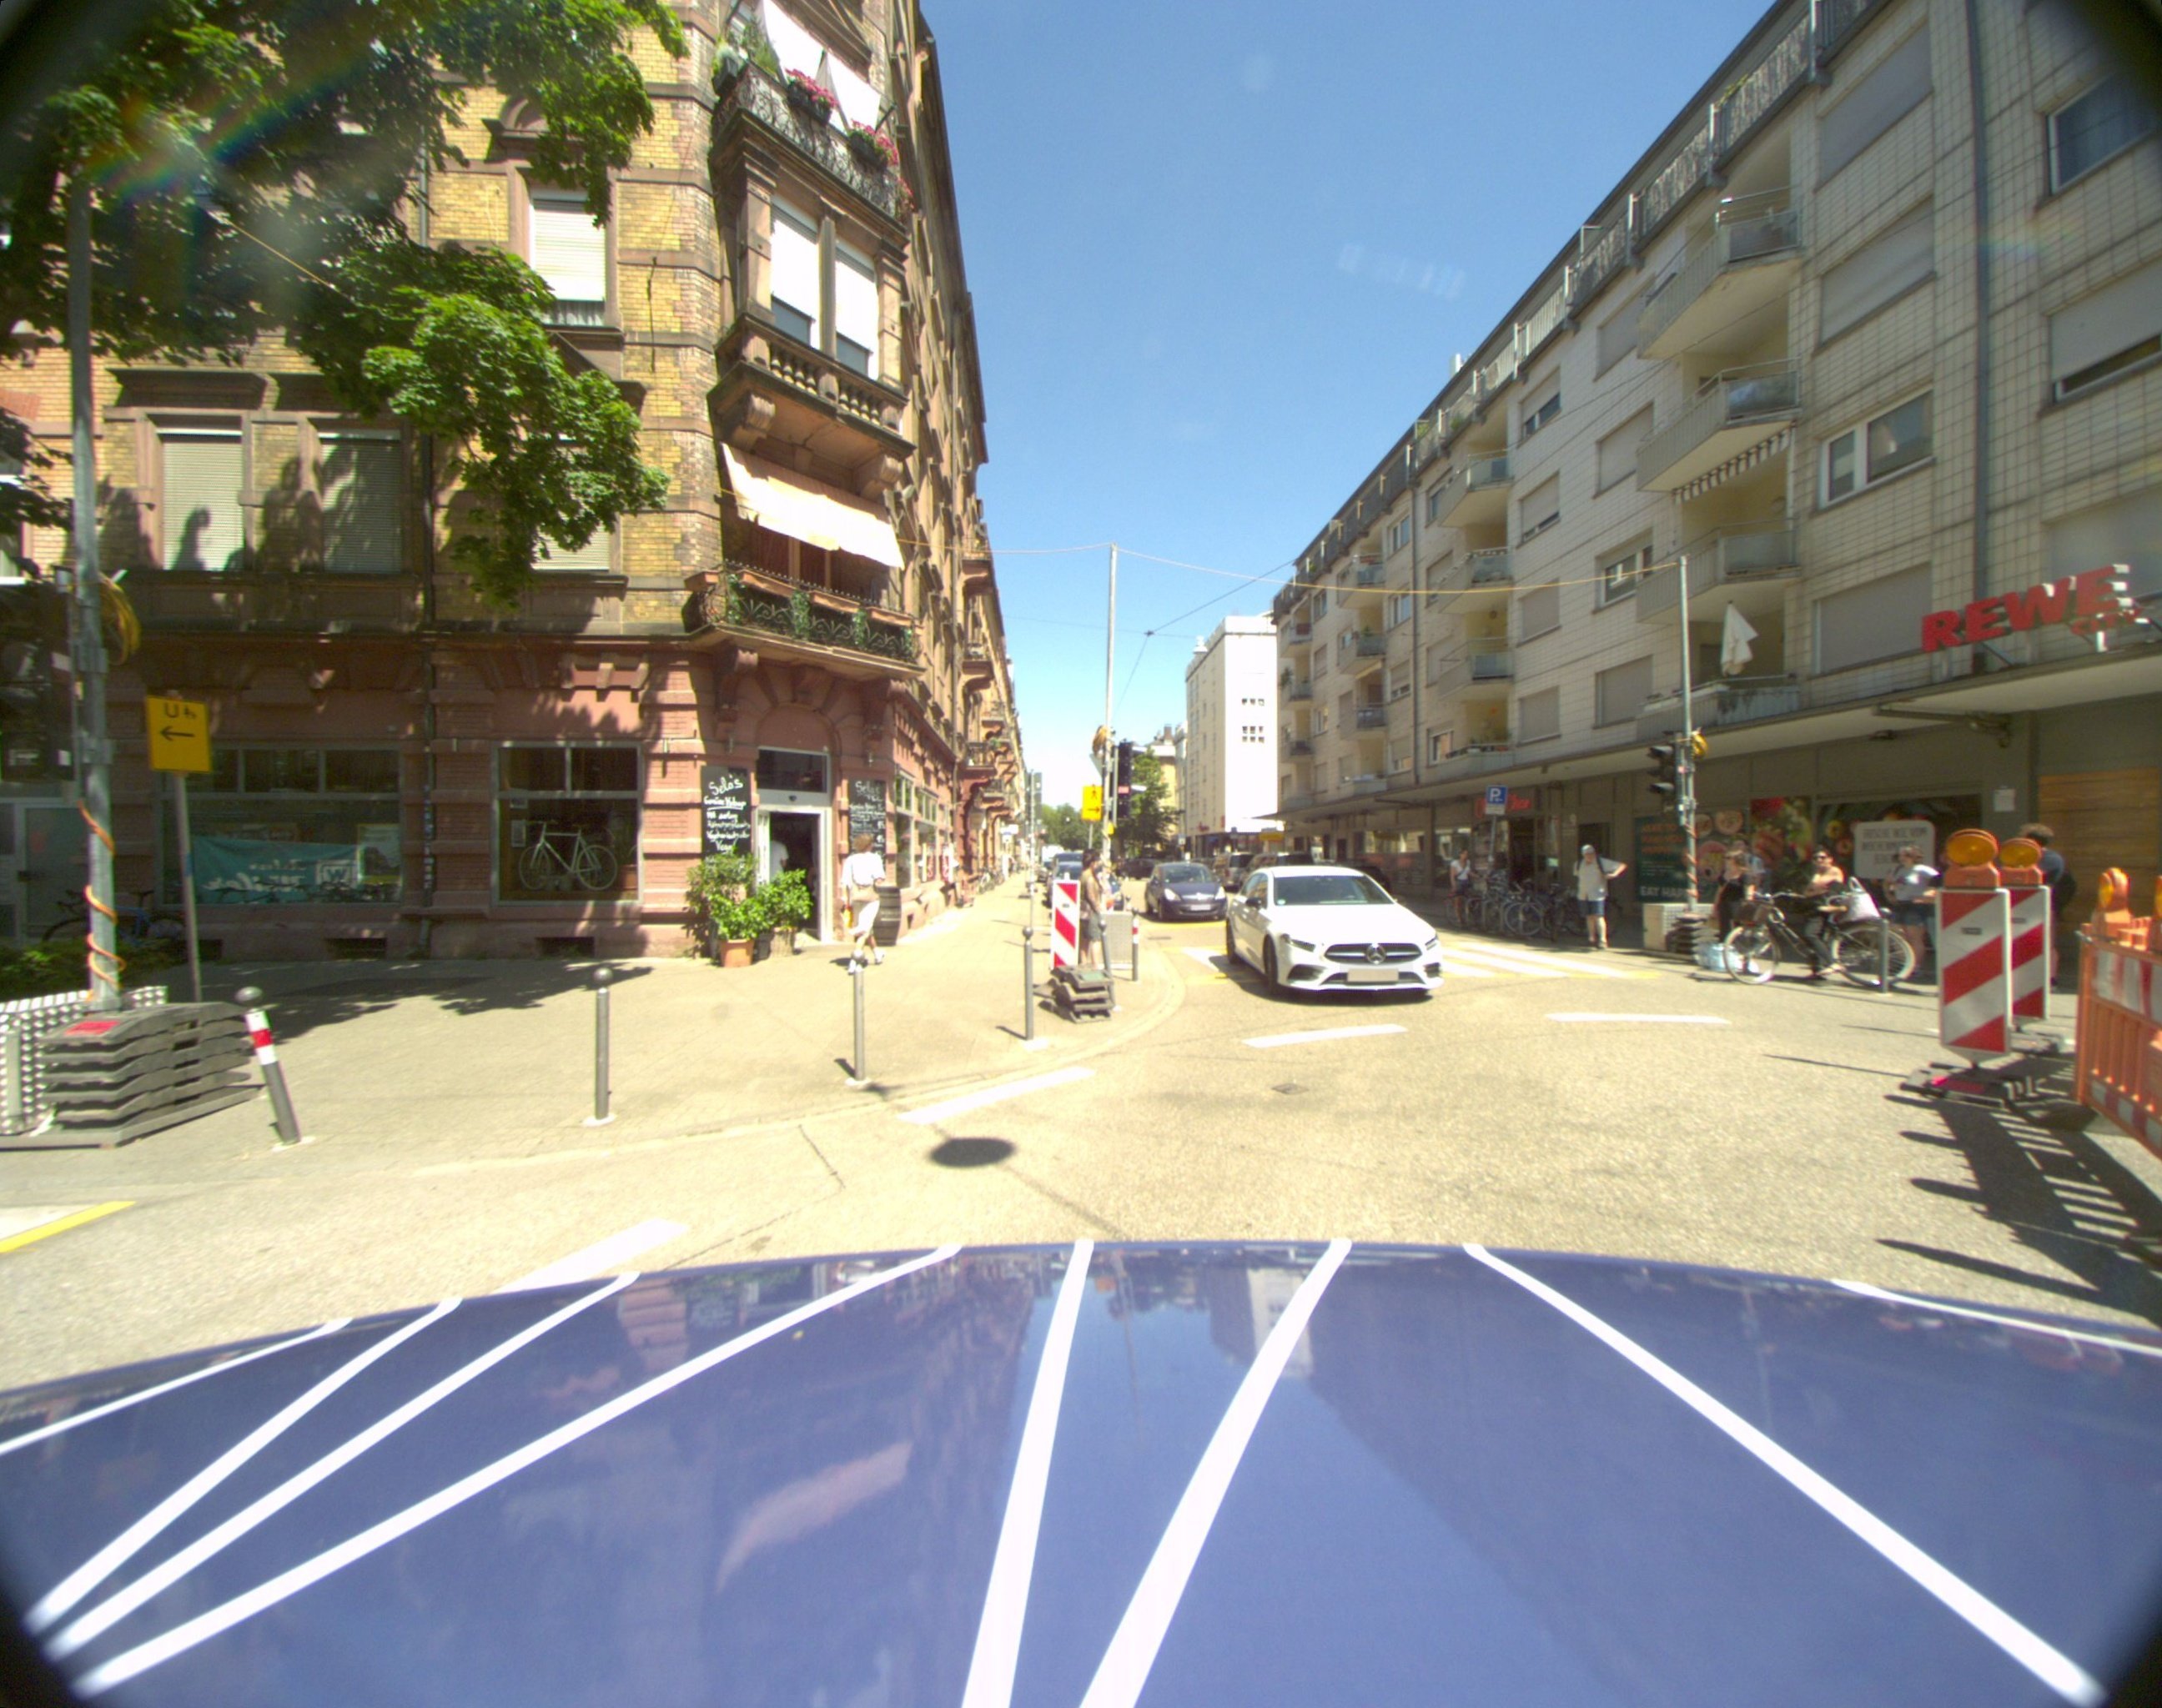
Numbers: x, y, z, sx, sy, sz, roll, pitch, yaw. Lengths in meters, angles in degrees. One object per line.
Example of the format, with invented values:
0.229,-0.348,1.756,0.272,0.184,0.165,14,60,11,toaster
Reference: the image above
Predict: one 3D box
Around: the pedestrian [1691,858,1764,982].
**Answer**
8.681,0.865,10.221,0.542,1.623,0.511,0,1,-7,pedestrian

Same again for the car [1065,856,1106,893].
0.181,0.984,38.167,1.706,1.723,3.998,-1,0,-4,car

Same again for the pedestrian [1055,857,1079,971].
-0.204,0.877,11.255,0.333,1.666,0.401,0,1,2,pedestrian

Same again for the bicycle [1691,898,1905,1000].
8.411,1.104,8.987,1.807,1.112,0.468,-2,0,17,bicycle

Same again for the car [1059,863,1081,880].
-0.963,1.510,66.121,1.749,1.382,3.999,0,0,-3,car

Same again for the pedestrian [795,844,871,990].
-3.053,0.738,9.415,0.478,1.723,0.872,0,2,15,pedestrian

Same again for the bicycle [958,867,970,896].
-4.575,1.064,29.742,0.355,1.097,1.755,0,0,-5,bicycle

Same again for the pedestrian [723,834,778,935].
-5.811,0.519,13.373,0.495,1.709,0.725,3,2,40,pedestrian

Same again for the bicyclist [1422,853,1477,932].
8.189,0.840,16.924,0.625,1.696,0.978,-3,0,-5,bicyclist

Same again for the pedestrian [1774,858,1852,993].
8.711,0.838,9.059,0.496,1.556,0.460,-2,0,22,pedestrian

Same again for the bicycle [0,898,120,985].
-13.058,1.067,9.342,1.696,1.002,0.522,0,0,-4,bicycle

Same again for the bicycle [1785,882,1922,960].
11.725,0.984,11.587,0.322,1.080,1.430,-1,-1,-23,bicycle

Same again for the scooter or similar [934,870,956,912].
-3.934,1.050,22.077,0.293,1.170,1.272,-1,0,5,scooter or similar

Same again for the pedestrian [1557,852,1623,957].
8.540,0.823,12.768,0.658,1.716,0.632,0,1,-7,pedestrian

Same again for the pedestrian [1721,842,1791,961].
10.213,0.699,11.507,0.510,1.760,0.599,0,1,-7,pedestrian

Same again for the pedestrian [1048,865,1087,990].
-0.168,0.921,9.698,0.460,1.551,0.479,0,1,2,pedestrian

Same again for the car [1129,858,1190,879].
5.387,0.978,52.136,3.884,1.417,1.817,0,0,15,car

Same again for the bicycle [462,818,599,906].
-7.360,0.105,10.195,1.426,1.145,0.510,0,1,-2,bicycle

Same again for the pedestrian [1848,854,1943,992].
9.965,0.817,9.307,0.510,1.623,0.599,0,1,-7,pedestrian

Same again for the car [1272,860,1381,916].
7.545,0.980,23.834,1.674,1.516,4.462,-1,0,-4,car

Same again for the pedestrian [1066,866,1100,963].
0.036,0.976,12.368,0.494,1.534,0.436,2,1,2,pedestrian

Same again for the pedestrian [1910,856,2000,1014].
9.195,0.829,8.006,0.391,1.608,0.475,0,1,-7,pedestrian

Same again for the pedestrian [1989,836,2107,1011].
10.393,0.715,8.183,0.510,1.809,0.599,0,1,-7,pedestrian

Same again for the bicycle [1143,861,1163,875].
5.789,1.130,61.075,1.609,1.084,0.371,-2,0,1,bicycle

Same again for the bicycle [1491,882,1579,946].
8.582,1.122,14.369,1.524,1.110,0.335,-3,1,-9,bicycle

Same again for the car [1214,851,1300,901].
6.859,0.806,30.228,1.794,1.801,4.696,-1,0,-7,car

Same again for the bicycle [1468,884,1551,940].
8.691,1.167,15.419,1.498,1.024,0.398,-3,1,-9,bicycle

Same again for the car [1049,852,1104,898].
-0.267,0.828,31.845,1.830,1.756,4.335,1,0,-6,car

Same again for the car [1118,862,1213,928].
2.133,1.008,20.331,1.781,1.460,3.998,-2,0,-4,car

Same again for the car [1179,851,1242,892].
6.134,0.791,36.481,1.794,1.818,4.898,-1,0,-4,car

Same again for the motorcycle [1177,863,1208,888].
5.912,1.133,40.355,1.552,1.277,0.394,-1,2,28,motorcycle

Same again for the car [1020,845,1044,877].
-4.495,0.602,69.392,2.068,2.687,5.036,-2,0,-4,car

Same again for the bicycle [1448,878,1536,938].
8.611,1.116,15.921,1.588,1.132,0.526,-3,1,-9,bicycle

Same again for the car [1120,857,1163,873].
5.696,1.021,71.782,3.887,1.520,1.651,0,0,-5,car

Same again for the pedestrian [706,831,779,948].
-5.478,0.558,12.311,0.455,1.809,0.944,4,3,39,pedestrian

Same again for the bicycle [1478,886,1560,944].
8.504,1.177,14.764,1.452,1.030,0.335,-3,1,-9,bicycle

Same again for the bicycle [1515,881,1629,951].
8.884,1.100,13.750,1.804,1.116,0.577,-2,1,-10,bicycle

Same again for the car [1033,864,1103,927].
-0.402,0.995,19.696,1.632,1.424,3.659,1,0,-3,car

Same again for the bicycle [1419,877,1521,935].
8.407,1.112,16.444,1.939,1.085,0.604,-3,2,-7,bicycle

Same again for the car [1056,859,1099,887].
-0.268,1.060,43.008,1.767,1.441,3.902,-1,0,-10,car

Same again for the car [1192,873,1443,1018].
2.680,0.967,9.714,1.814,1.416,4.242,0,-1,-1,car

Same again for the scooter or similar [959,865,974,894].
-4.942,1.082,32.822,0.478,1.146,2.148,-1,0,-5,scooter or similar

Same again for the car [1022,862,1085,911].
-0.992,0.999,25.013,1.731,1.424,4.483,1,0,-6,car
